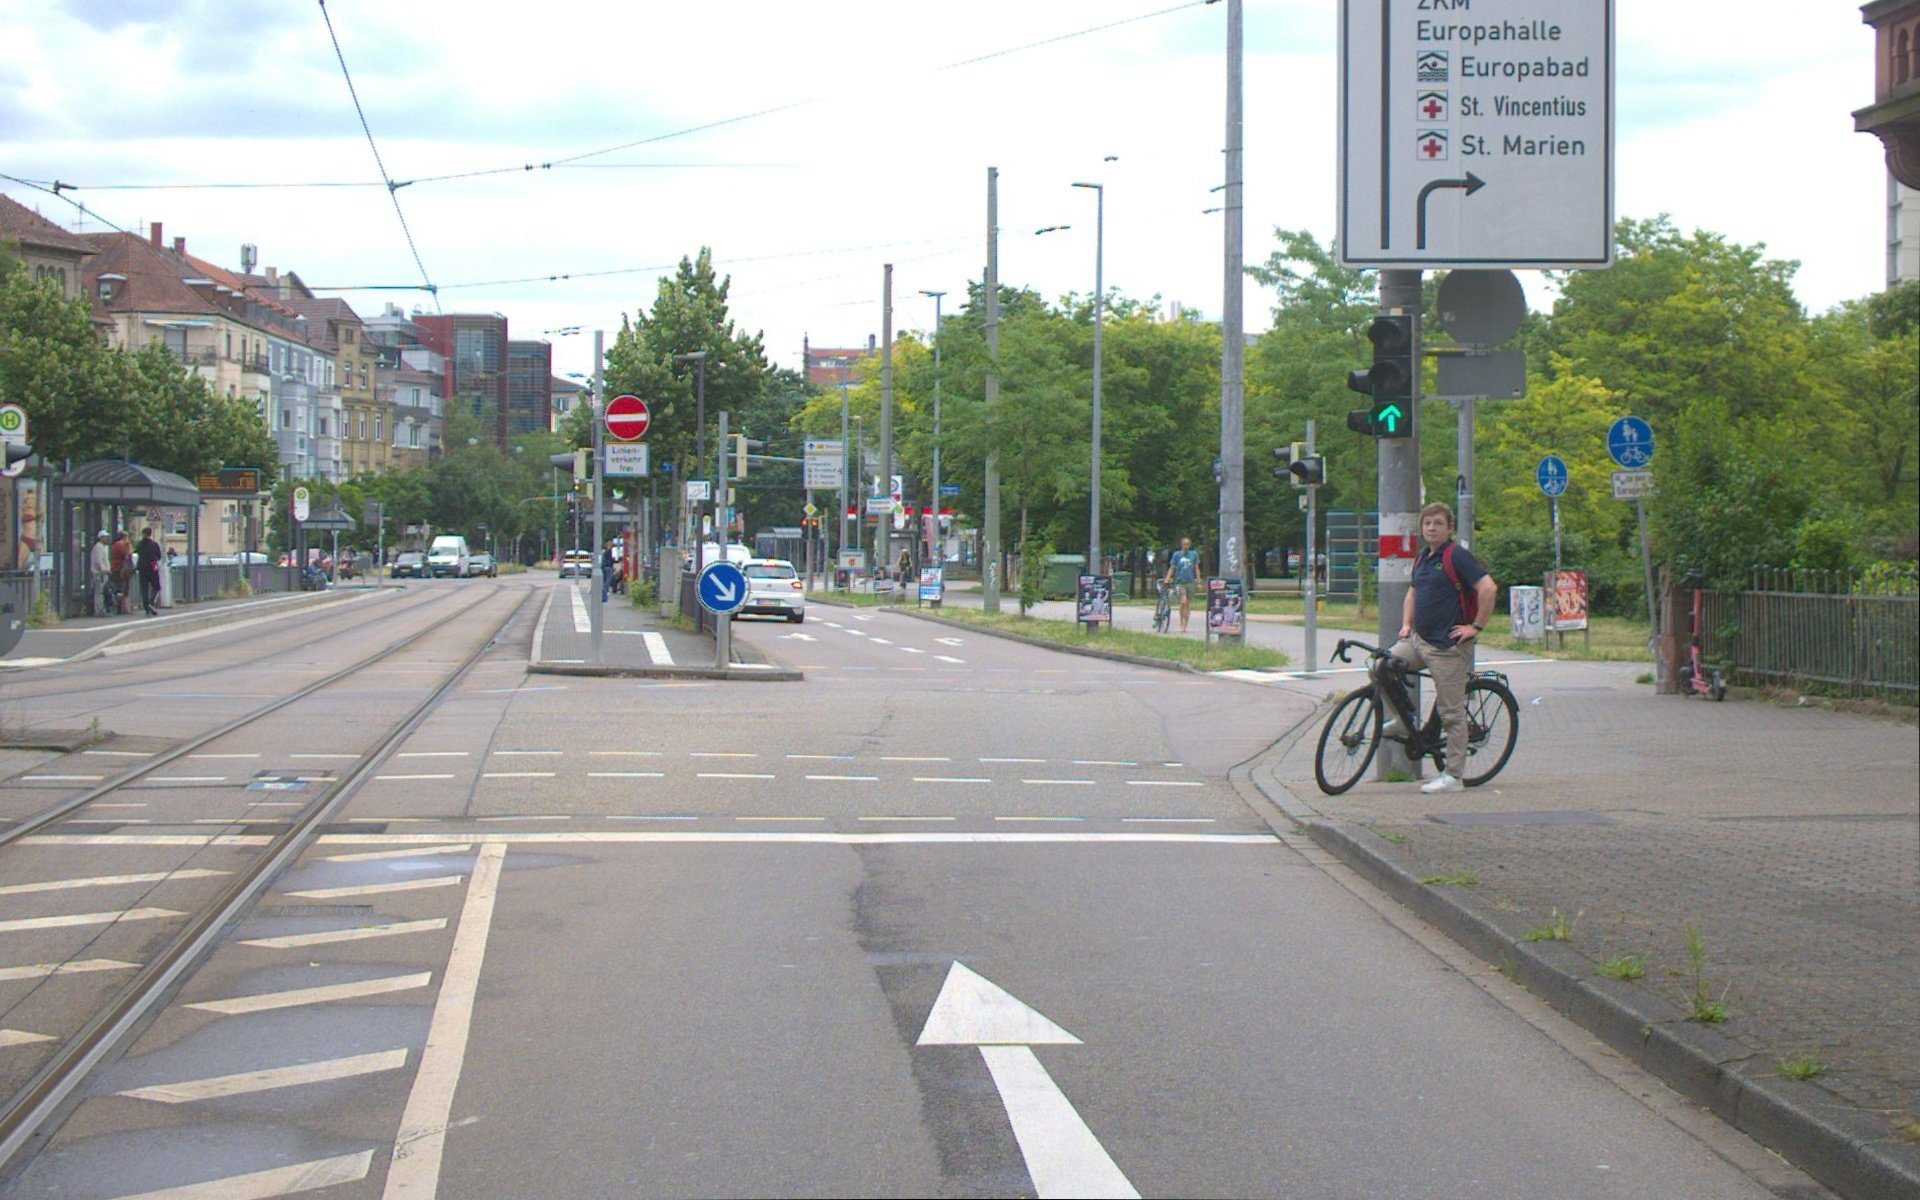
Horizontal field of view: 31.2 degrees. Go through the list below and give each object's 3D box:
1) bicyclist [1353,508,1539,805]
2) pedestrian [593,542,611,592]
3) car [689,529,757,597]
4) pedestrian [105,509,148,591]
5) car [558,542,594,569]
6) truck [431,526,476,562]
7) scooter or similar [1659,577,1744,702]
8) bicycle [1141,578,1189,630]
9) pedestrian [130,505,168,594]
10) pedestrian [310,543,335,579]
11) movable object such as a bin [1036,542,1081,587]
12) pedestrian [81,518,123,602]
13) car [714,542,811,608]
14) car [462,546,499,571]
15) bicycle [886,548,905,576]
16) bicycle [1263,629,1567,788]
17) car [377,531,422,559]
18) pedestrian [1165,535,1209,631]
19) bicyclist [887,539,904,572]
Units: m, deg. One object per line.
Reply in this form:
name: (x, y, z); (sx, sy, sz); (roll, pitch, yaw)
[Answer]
bicyclist: (3.009, 0.331, 21.307); (0.680, 1.789, 0.891); (0, 1, -38)
pedestrian: (-11.209, -1.039, 107.686); (0.532, 1.552, 0.571); (0, 1, -3)
car: (-7.063, -1.123, 102.306); (1.782, 1.956, 4.383); (1, 1, -7)
pedestrian: (-16.942, -1.022, 69.867); (0.768, 1.654, 1.025); (0, 1, -9)
car: (-21.300, -2.477, 190.889); (1.770, 1.488, 3.887); (0, 1, -4)
truck: (-29.091, -3.187, 197.707); (1.788, 2.025, 5.396); (0, 1, 0)
scooter or similar: (6.945, 0.363, 32.230); (0.376, 1.137, 1.200); (0, 1, -9)
bicycle: (4.014, 0.073, 67.514); (0.654, 0.999, 1.779); (0, 1, -6)
pedestrian: (-15.662, -0.981, 66.390); (0.699, 1.709, 0.699); (0, 1, -15)
pedestrian: (-22.768, -1.392, 122.786); (0.864, 1.262, 0.694); (0, 1, -8)
movable object such as a bin: (3.074, -1.111, 107.375); (1.282, 1.385, 1.159); (0, 0, -5)
pedestrian: (-16.677, -0.773, 66.828); (0.632, 1.618, 0.680); (0, 1, -31)
car: (-4.587, -0.597, 79.373); (1.782, 1.467, 4.011); (1, 1, -10)
car: (-29.617, -2.567, 212.422); (1.770, 1.488, 3.887); (0, 1, 0)
bicycle: (-2.711, -1.591, 144.639); (0.679, 1.151, 1.898); (0, 1, 2)
bicycle: (2.857, 0.657, 21.501); (1.862, 0.921, 0.796); (0, 1, -38)
car: (-30.431, -3.003, 186.715); (1.770, 1.488, 3.887); (0, 1, 0)
pedestrian: (4.452, -0.336, 67.501); (0.739, 1.863, 0.682); (0, 1, -7)
bicyclist: (-2.725, -1.877, 144.642); (0.679, 1.375, 0.727); (0, 1, 2)
